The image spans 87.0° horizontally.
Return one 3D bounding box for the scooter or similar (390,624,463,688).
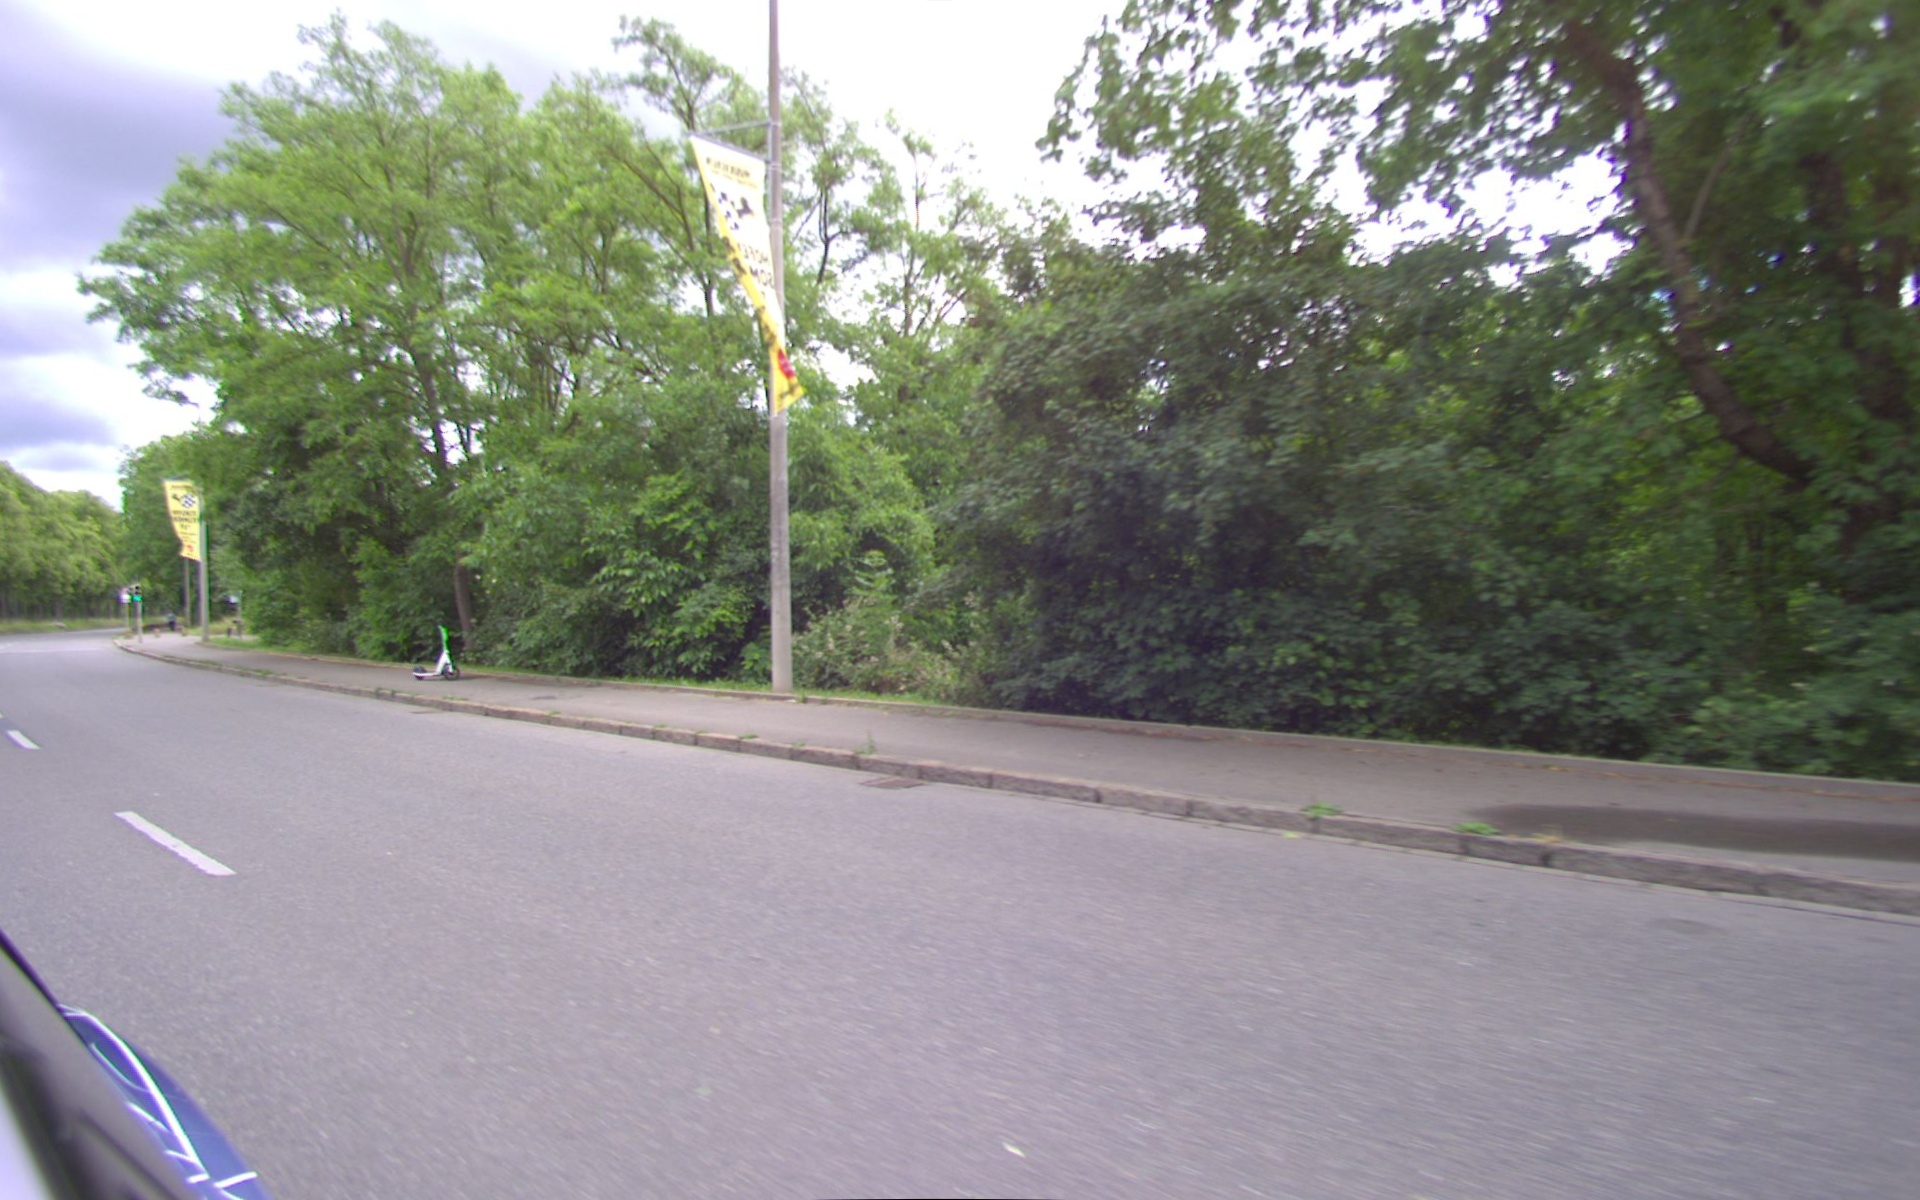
[{"bbox_3d":[-10.502,1.099,19.928,1.284,1.193,0.364,-2,0,12],"label":"scooter or similar"}]
